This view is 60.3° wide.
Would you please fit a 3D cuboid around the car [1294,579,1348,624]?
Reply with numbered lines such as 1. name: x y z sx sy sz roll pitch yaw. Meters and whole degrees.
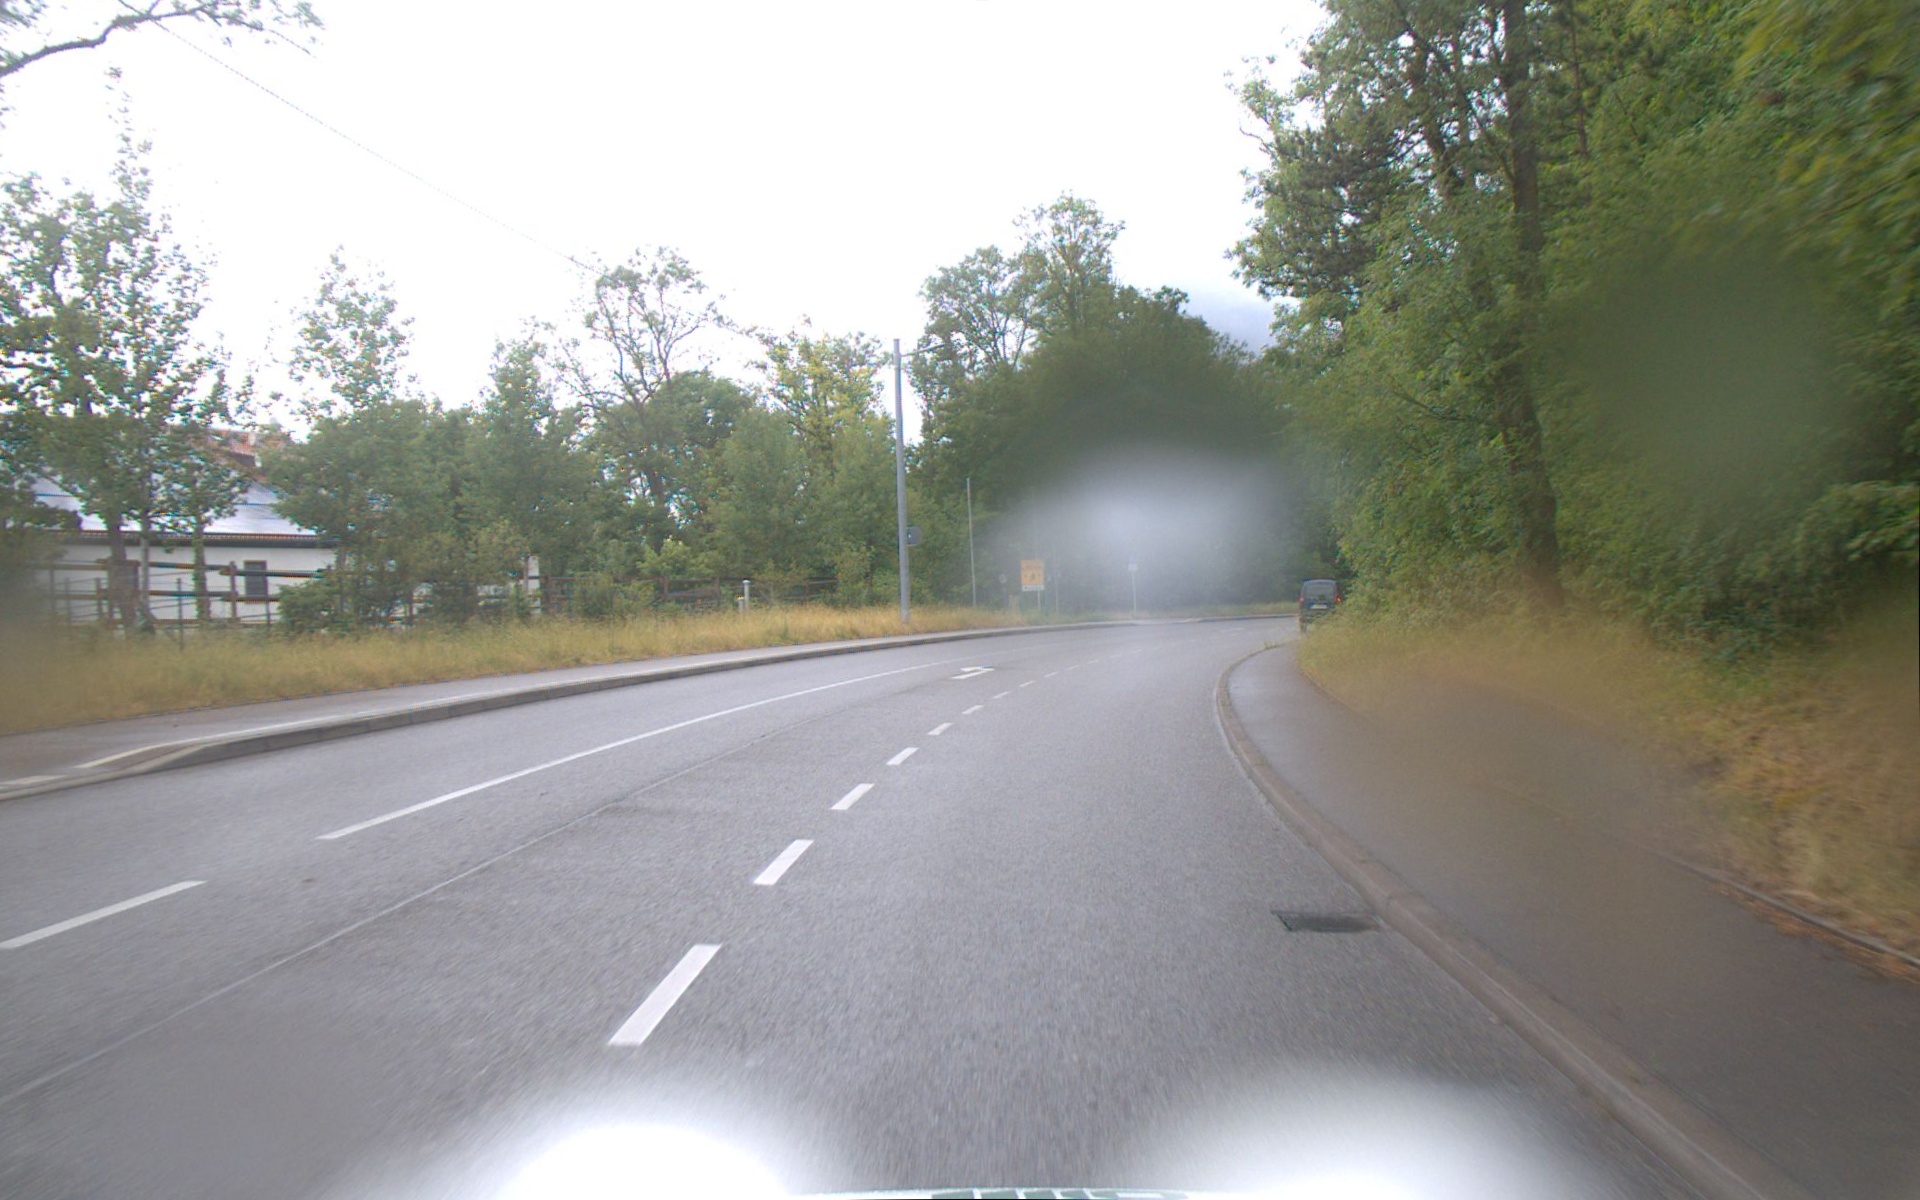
1. car: 13.431 0.040 61.439 1.632 1.621 3.684 0 0 18
